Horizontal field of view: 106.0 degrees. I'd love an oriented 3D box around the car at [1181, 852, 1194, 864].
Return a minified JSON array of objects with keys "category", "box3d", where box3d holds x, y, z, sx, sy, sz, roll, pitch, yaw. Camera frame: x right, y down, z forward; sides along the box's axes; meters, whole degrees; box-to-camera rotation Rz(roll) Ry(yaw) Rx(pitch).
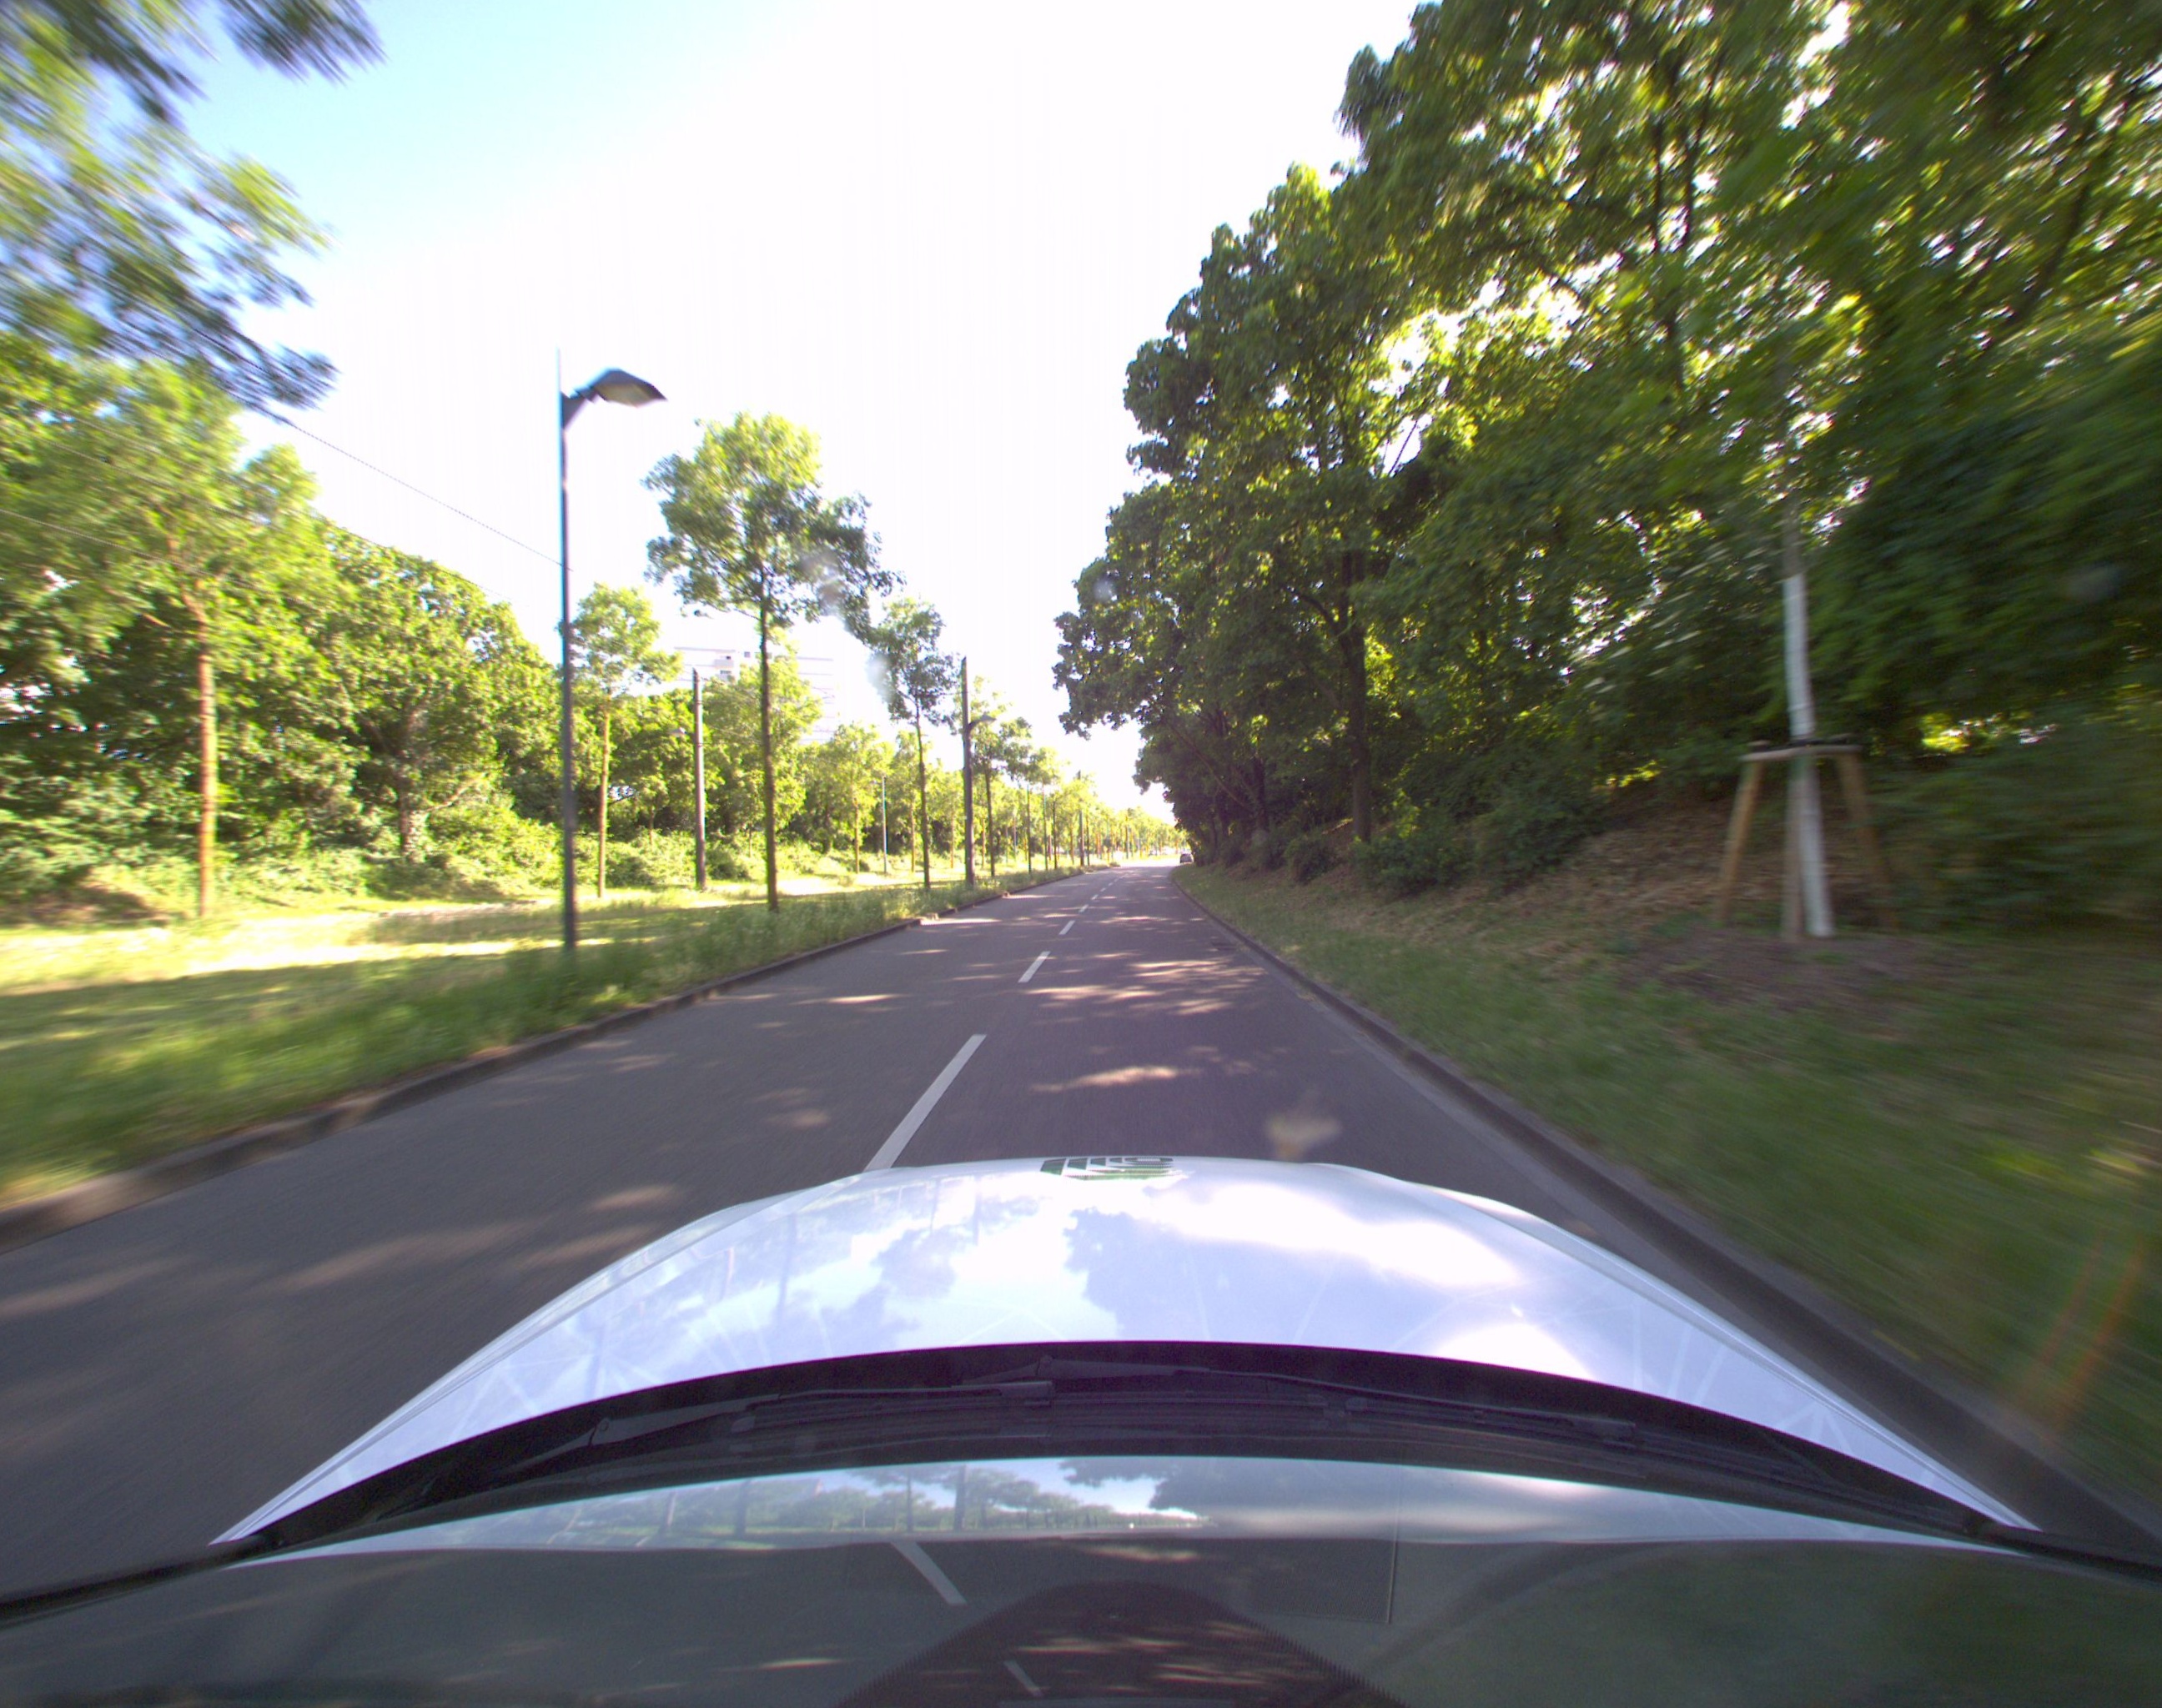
[{"category":"car","box3d":[14.295,0.542,109.152,1.624,1.498,4.246,-1,0,9]}]
